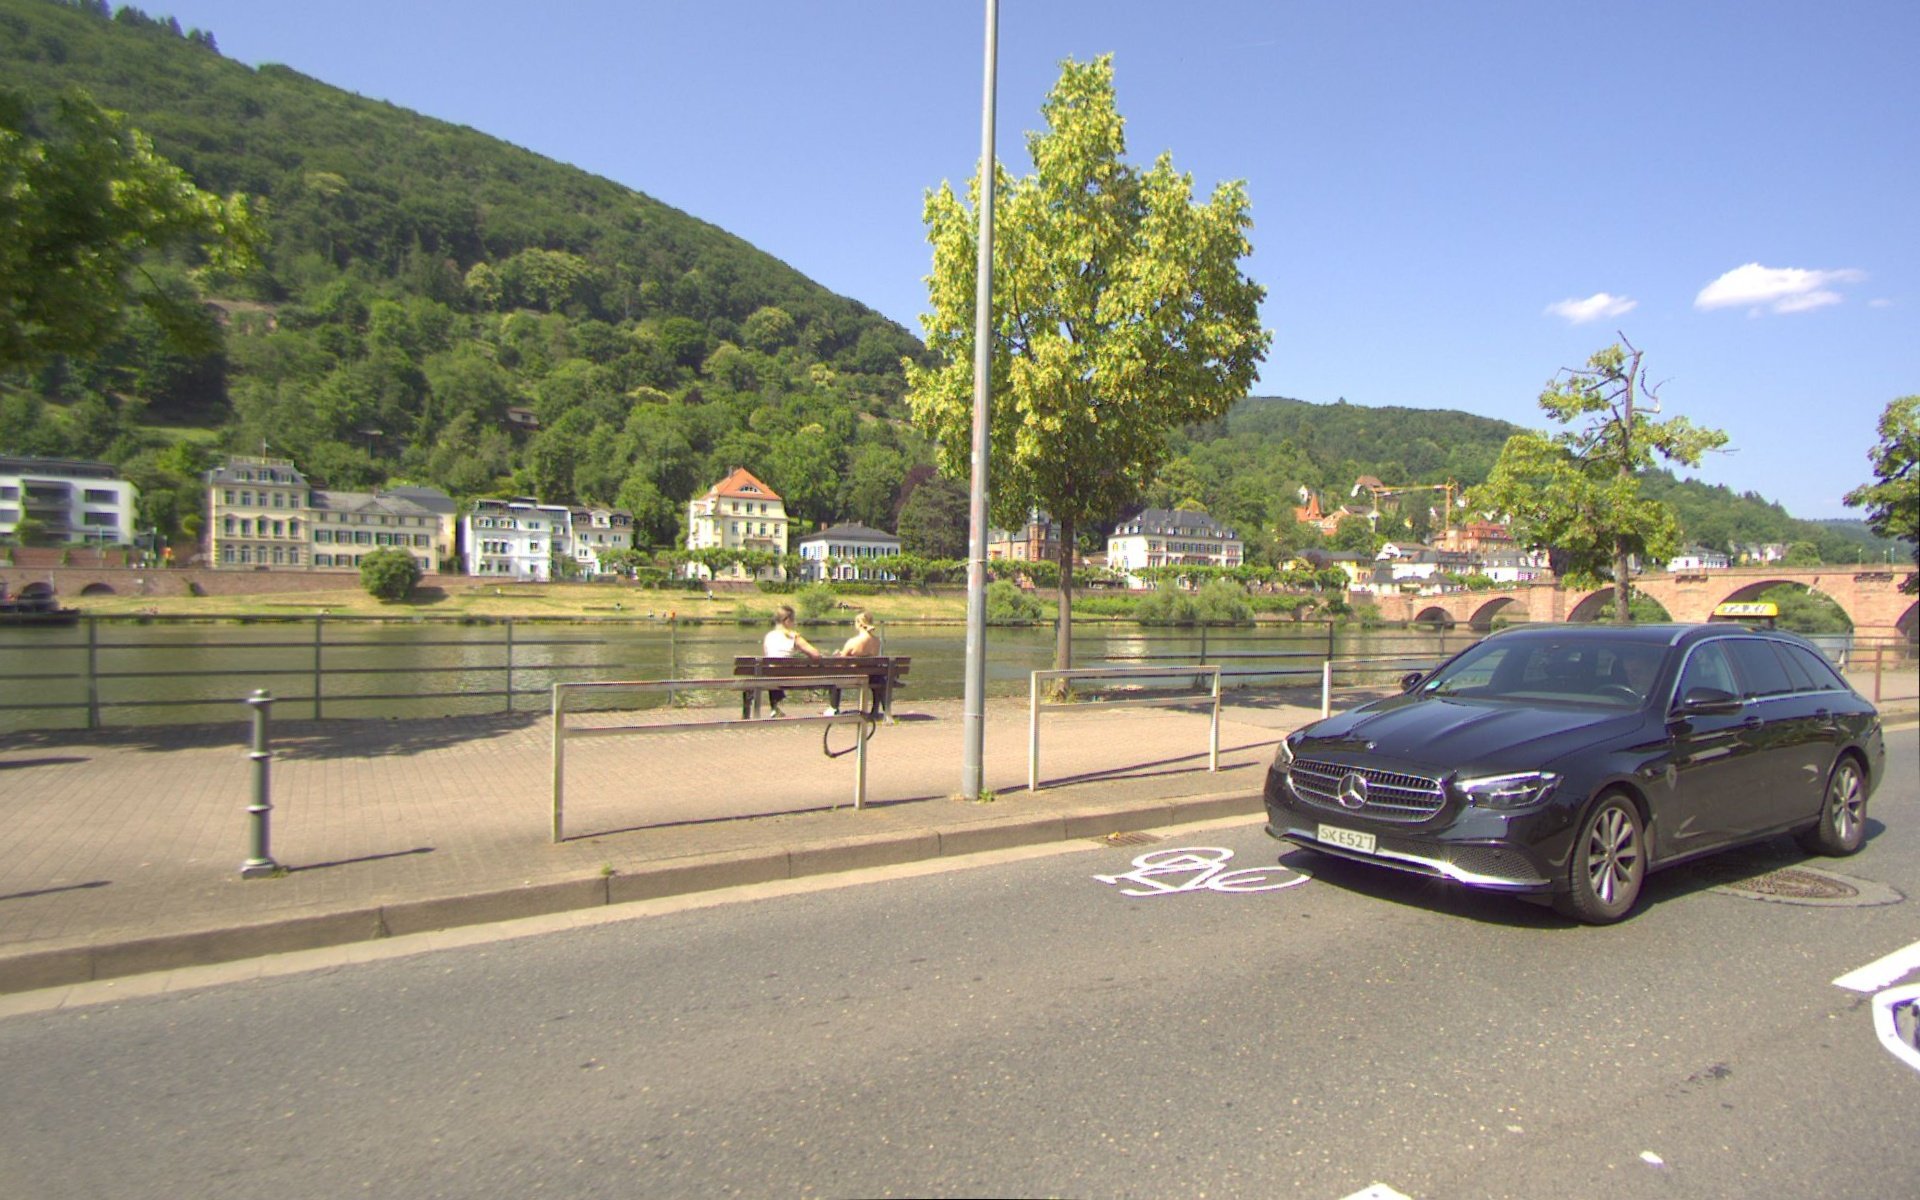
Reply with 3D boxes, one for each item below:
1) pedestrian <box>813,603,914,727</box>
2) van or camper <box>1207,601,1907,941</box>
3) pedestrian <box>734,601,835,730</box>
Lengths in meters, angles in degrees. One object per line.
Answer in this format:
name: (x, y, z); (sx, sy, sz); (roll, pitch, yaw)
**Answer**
pedestrian: (-1.085, 0.691, 11.142); (0.838, 1.298, 0.934); (1, 0, -25)
van or camper: (3.964, 0.811, 6.457); (4.630, 1.474, 1.983); (1, -2, -32)
pedestrian: (-1.895, 0.673, 10.748); (0.838, 1.298, 0.934); (1, 0, -25)
